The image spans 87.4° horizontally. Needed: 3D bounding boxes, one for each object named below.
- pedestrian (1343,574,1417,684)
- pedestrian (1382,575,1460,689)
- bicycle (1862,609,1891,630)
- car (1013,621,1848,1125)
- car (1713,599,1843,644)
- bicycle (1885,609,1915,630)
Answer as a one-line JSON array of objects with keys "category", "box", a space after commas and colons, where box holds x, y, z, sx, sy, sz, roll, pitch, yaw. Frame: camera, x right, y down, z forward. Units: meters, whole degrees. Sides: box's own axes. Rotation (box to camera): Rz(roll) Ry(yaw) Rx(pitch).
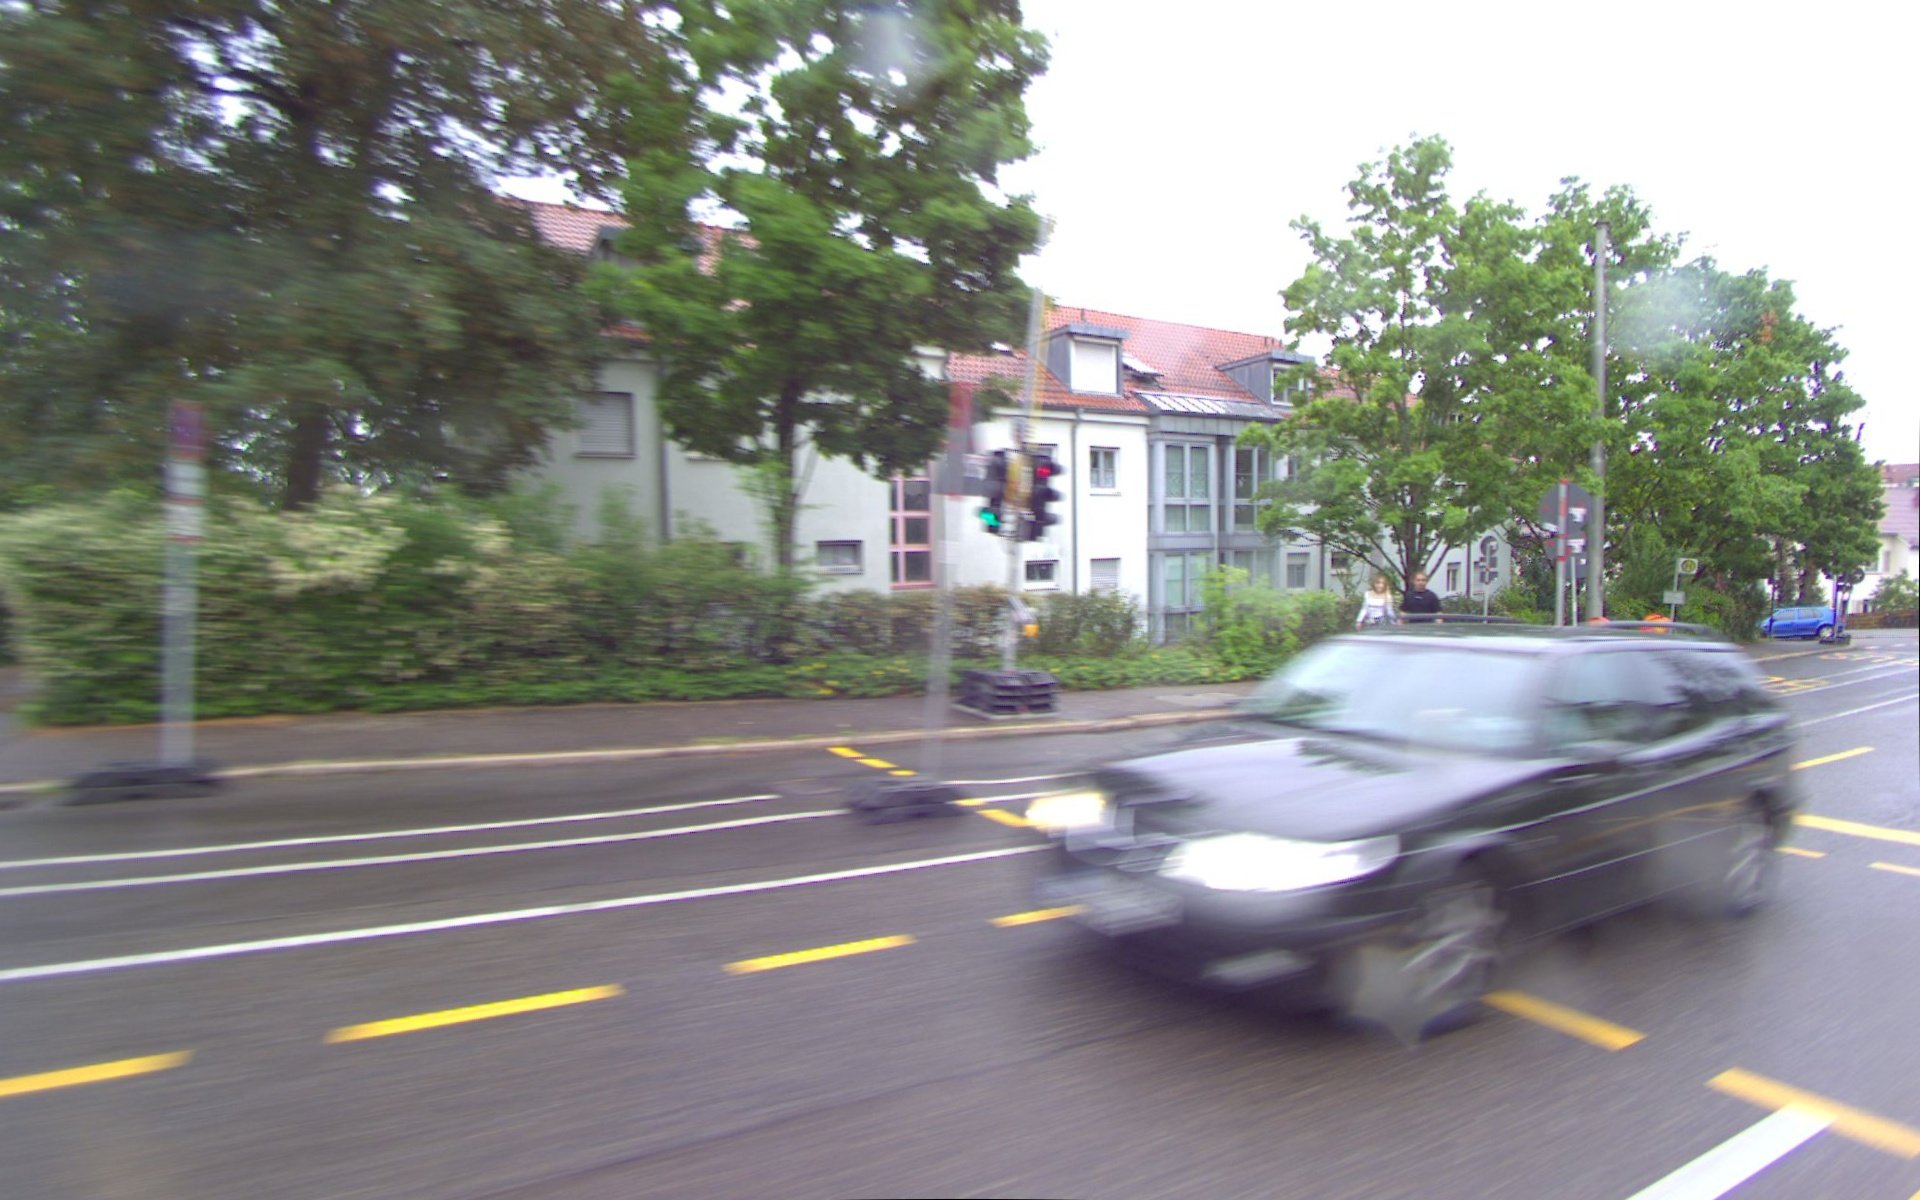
[{"category": "pedestrian", "box": [7.293, 0.475, 17.439, 1.145, 1.841, 0.675, -1, 3, -39]}, {"category": "pedestrian", "box": [7.759, 0.507, 16.899, 1.137, 1.841, 0.701, -1, 3, -39]}, {"category": "bicycle", "box": [48.274, 1.045, 52.904, 0.299, 1.048, 1.329, 3, -1, 3]}, {"category": "car", "box": [2.619, 0.870, 5.059, 4.635, 1.480, 1.688, 1, 0, -34]}, {"category": "car", "box": [35.123, 0.907, 43.249, 3.863, 1.688, 1.842, 3, 1, 16]}, {"category": "bicycle", "box": [48.175, 1.002, 51.494, 0.299, 1.048, 1.304, 3, -1, 1]}]
